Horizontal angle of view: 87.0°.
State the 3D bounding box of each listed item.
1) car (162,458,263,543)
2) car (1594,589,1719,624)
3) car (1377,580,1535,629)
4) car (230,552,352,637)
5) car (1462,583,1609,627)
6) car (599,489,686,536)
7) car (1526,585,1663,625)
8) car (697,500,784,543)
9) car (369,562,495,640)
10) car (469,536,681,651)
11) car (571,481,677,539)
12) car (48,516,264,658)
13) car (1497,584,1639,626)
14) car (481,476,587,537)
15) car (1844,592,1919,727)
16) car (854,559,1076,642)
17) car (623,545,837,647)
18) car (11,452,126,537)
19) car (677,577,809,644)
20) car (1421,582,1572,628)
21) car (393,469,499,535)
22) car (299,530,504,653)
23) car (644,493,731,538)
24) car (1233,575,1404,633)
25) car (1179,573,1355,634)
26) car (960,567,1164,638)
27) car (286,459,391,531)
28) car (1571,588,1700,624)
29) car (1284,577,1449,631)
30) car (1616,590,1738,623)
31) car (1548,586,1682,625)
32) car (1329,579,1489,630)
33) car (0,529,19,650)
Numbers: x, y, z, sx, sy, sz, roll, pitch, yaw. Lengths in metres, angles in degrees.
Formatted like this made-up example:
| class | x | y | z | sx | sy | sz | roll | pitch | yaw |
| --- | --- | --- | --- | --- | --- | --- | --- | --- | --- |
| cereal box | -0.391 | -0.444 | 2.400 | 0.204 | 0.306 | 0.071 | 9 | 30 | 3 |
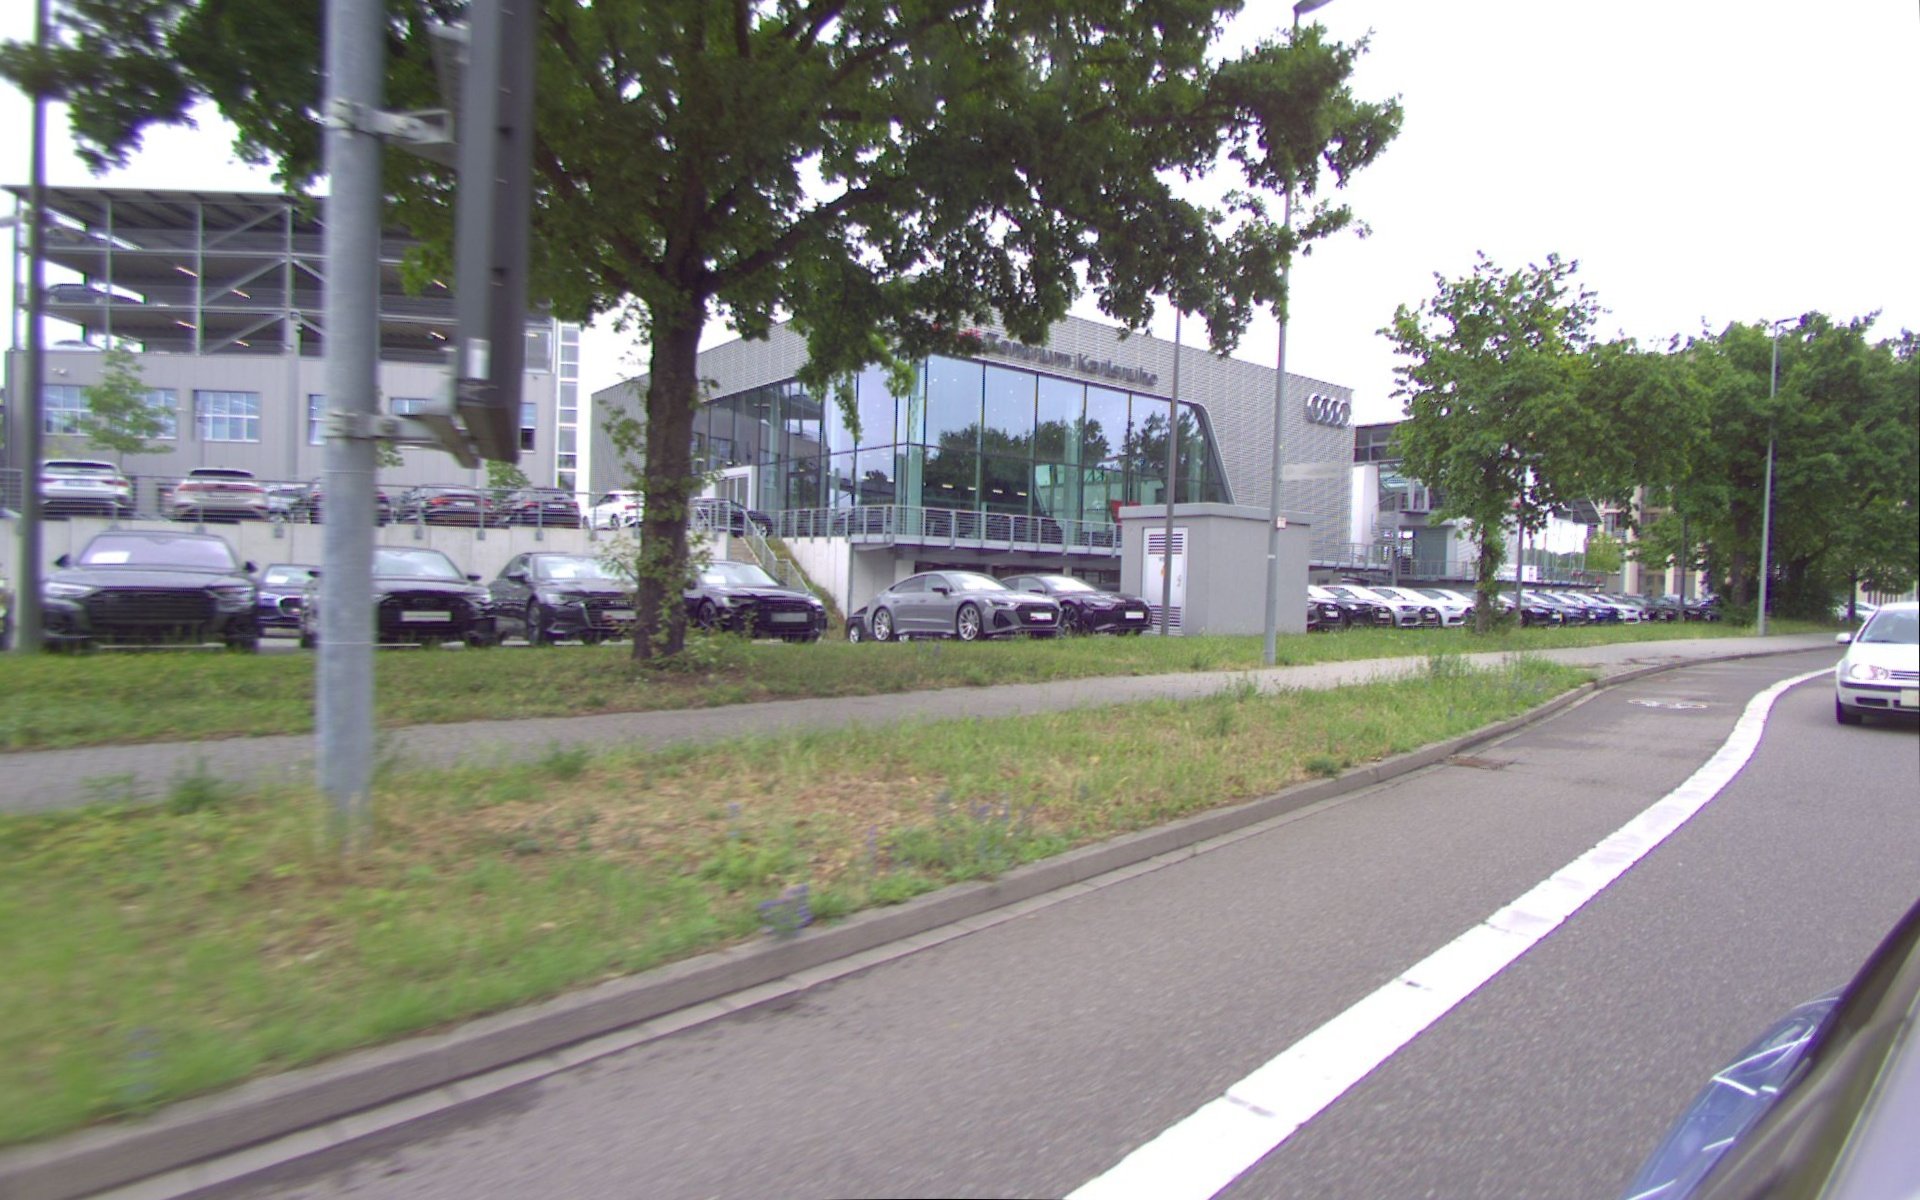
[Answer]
| class | x | y | z | sx | sy | sz | roll | pitch | yaw |
| --- | --- | --- | --- | --- | --- | --- | --- | --- | --- |
| car | -18.505 | -2.372 | 25.124 | 1.860 | 1.612 | 4.309 | 1 | -1 | -36 |
| car | 29.406 | 0.283 | 42.835 | 1.696 | 1.410 | 4.040 | 1 | -1 | -38 |
| car | 15.255 | 0.164 | 31.291 | 1.696 | 1.410 | 4.040 | 1 | -1 | -38 |
| car | -14.351 | -0.079 | 21.612 | 1.867 | 1.621 | 4.308 | 1 | -1 | -37 |
| car | 19.641 | 0.196 | 34.699 | 1.696 | 1.410 | 4.040 | 1 | -1 | -38 |
| car | -12.446 | -3.360 | 39.536 | 1.799 | 1.381 | 4.306 | 1 | -1 | -39 |
| car | 23.710 | 0.218 | 37.935 | 1.696 | 1.410 | 4.040 | 1 | -1 | -38 |
| car | -9.266 | -3.261 | 42.460 | 1.799 | 1.381 | 4.306 | 1 | -1 | -39 |
| car | -12.213 | 0.051 | 23.273 | 1.867 | 1.621 | 4.308 | 1 | -1 | -37 |
| car | -5.893 | -0.050 | 15.188 | 1.810 | 1.463 | 4.308 | 1 | -1 | -38 |
| car | -10.762 | -2.798 | 32.239 | 1.799 | 1.381 | 4.306 | 1 | -1 | -39 |
| car | -9.465 | -0.093 | 12.045 | 1.707 | 1.375 | 4.308 | 1 | -1 | -38 |
| car | 21.726 | 0.205 | 36.303 | 1.696 | 1.410 | 4.040 | 1 | -1 | -38 |
| car | -12.937 | -2.759 | 30.593 | 1.799 | 1.381 | 4.306 | 1 | -1 | -39 |
| car | 11.875 | 0.656 | 12.072 | 3.876 | 1.442 | 1.723 | 1 | 0 | -45 |
| car | -0.044 | 0.048 | 20.017 | 1.867 | 1.442 | 4.762 | 1 | -1 | -38 |
| car | -3.923 | -0.027 | 16.715 | 1.810 | 1.463 | 4.308 | 1 | -1 | -38 |
| car | -20.598 | -2.361 | 23.538 | 1.831 | 1.451 | 4.306 | 1 | -1 | -39 |
| car | -6.093 | 0.367 | 28.112 | 1.867 | 1.622 | 4.305 | 3 | -5 | -39 |
| car | 17.470 | 0.172 | 33.104 | 1.696 | 1.410 | 4.040 | 1 | -1 | -38 |
| car | -14.717 | -2.725 | 28.871 | 1.799 | 1.381 | 4.306 | 1 | -1 | -39 |
| car | -7.693 | -0.060 | 13.732 | 1.804 | 1.396 | 4.308 | 1 | -1 | -38 |
| car | -11.037 | -3.365 | 40.855 | 1.799 | 1.381 | 4.306 | 1 | -1 | -39 |
| car | 9.486 | 0.131 | 27.052 | 1.696 | 1.410 | 4.040 | 1 | -1 | -38 |
| car | 7.652 | 0.110 | 25.539 | 1.696 | 1.410 | 4.040 | 1 | -1 | -38 |
| car | 2.029 | 0.074 | 21.281 | 1.829 | 1.333 | 4.308 | 1 | -1 | -38 |
| car | -16.506 | -2.700 | 26.785 | 1.799 | 1.381 | 4.306 | 1 | -1 | -39 |
| car | 27.425 | 0.265 | 41.213 | 1.696 | 1.410 | 4.040 | 1 | -1 | -38 |
| car | 11.362 | 0.140 | 28.506 | 1.696 | 1.410 | 4.040 | 1 | -1 | -38 |
| car | 31.545 | 0.295 | 44.617 | 1.696 | 1.410 | 4.040 | 1 | -1 | -38 |
| car | 25.350 | 0.239 | 39.279 | 1.696 | 1.410 | 4.040 | 1 | -1 | -38 |
| car | 13.277 | 0.154 | 30.093 | 1.696 | 1.410 | 4.040 | 1 | -1 | -38 |
| car | -11.455 | -0.133 | 10.695 | 1.762 | 1.395 | 4.056 | 1 | -1 | -37 |
